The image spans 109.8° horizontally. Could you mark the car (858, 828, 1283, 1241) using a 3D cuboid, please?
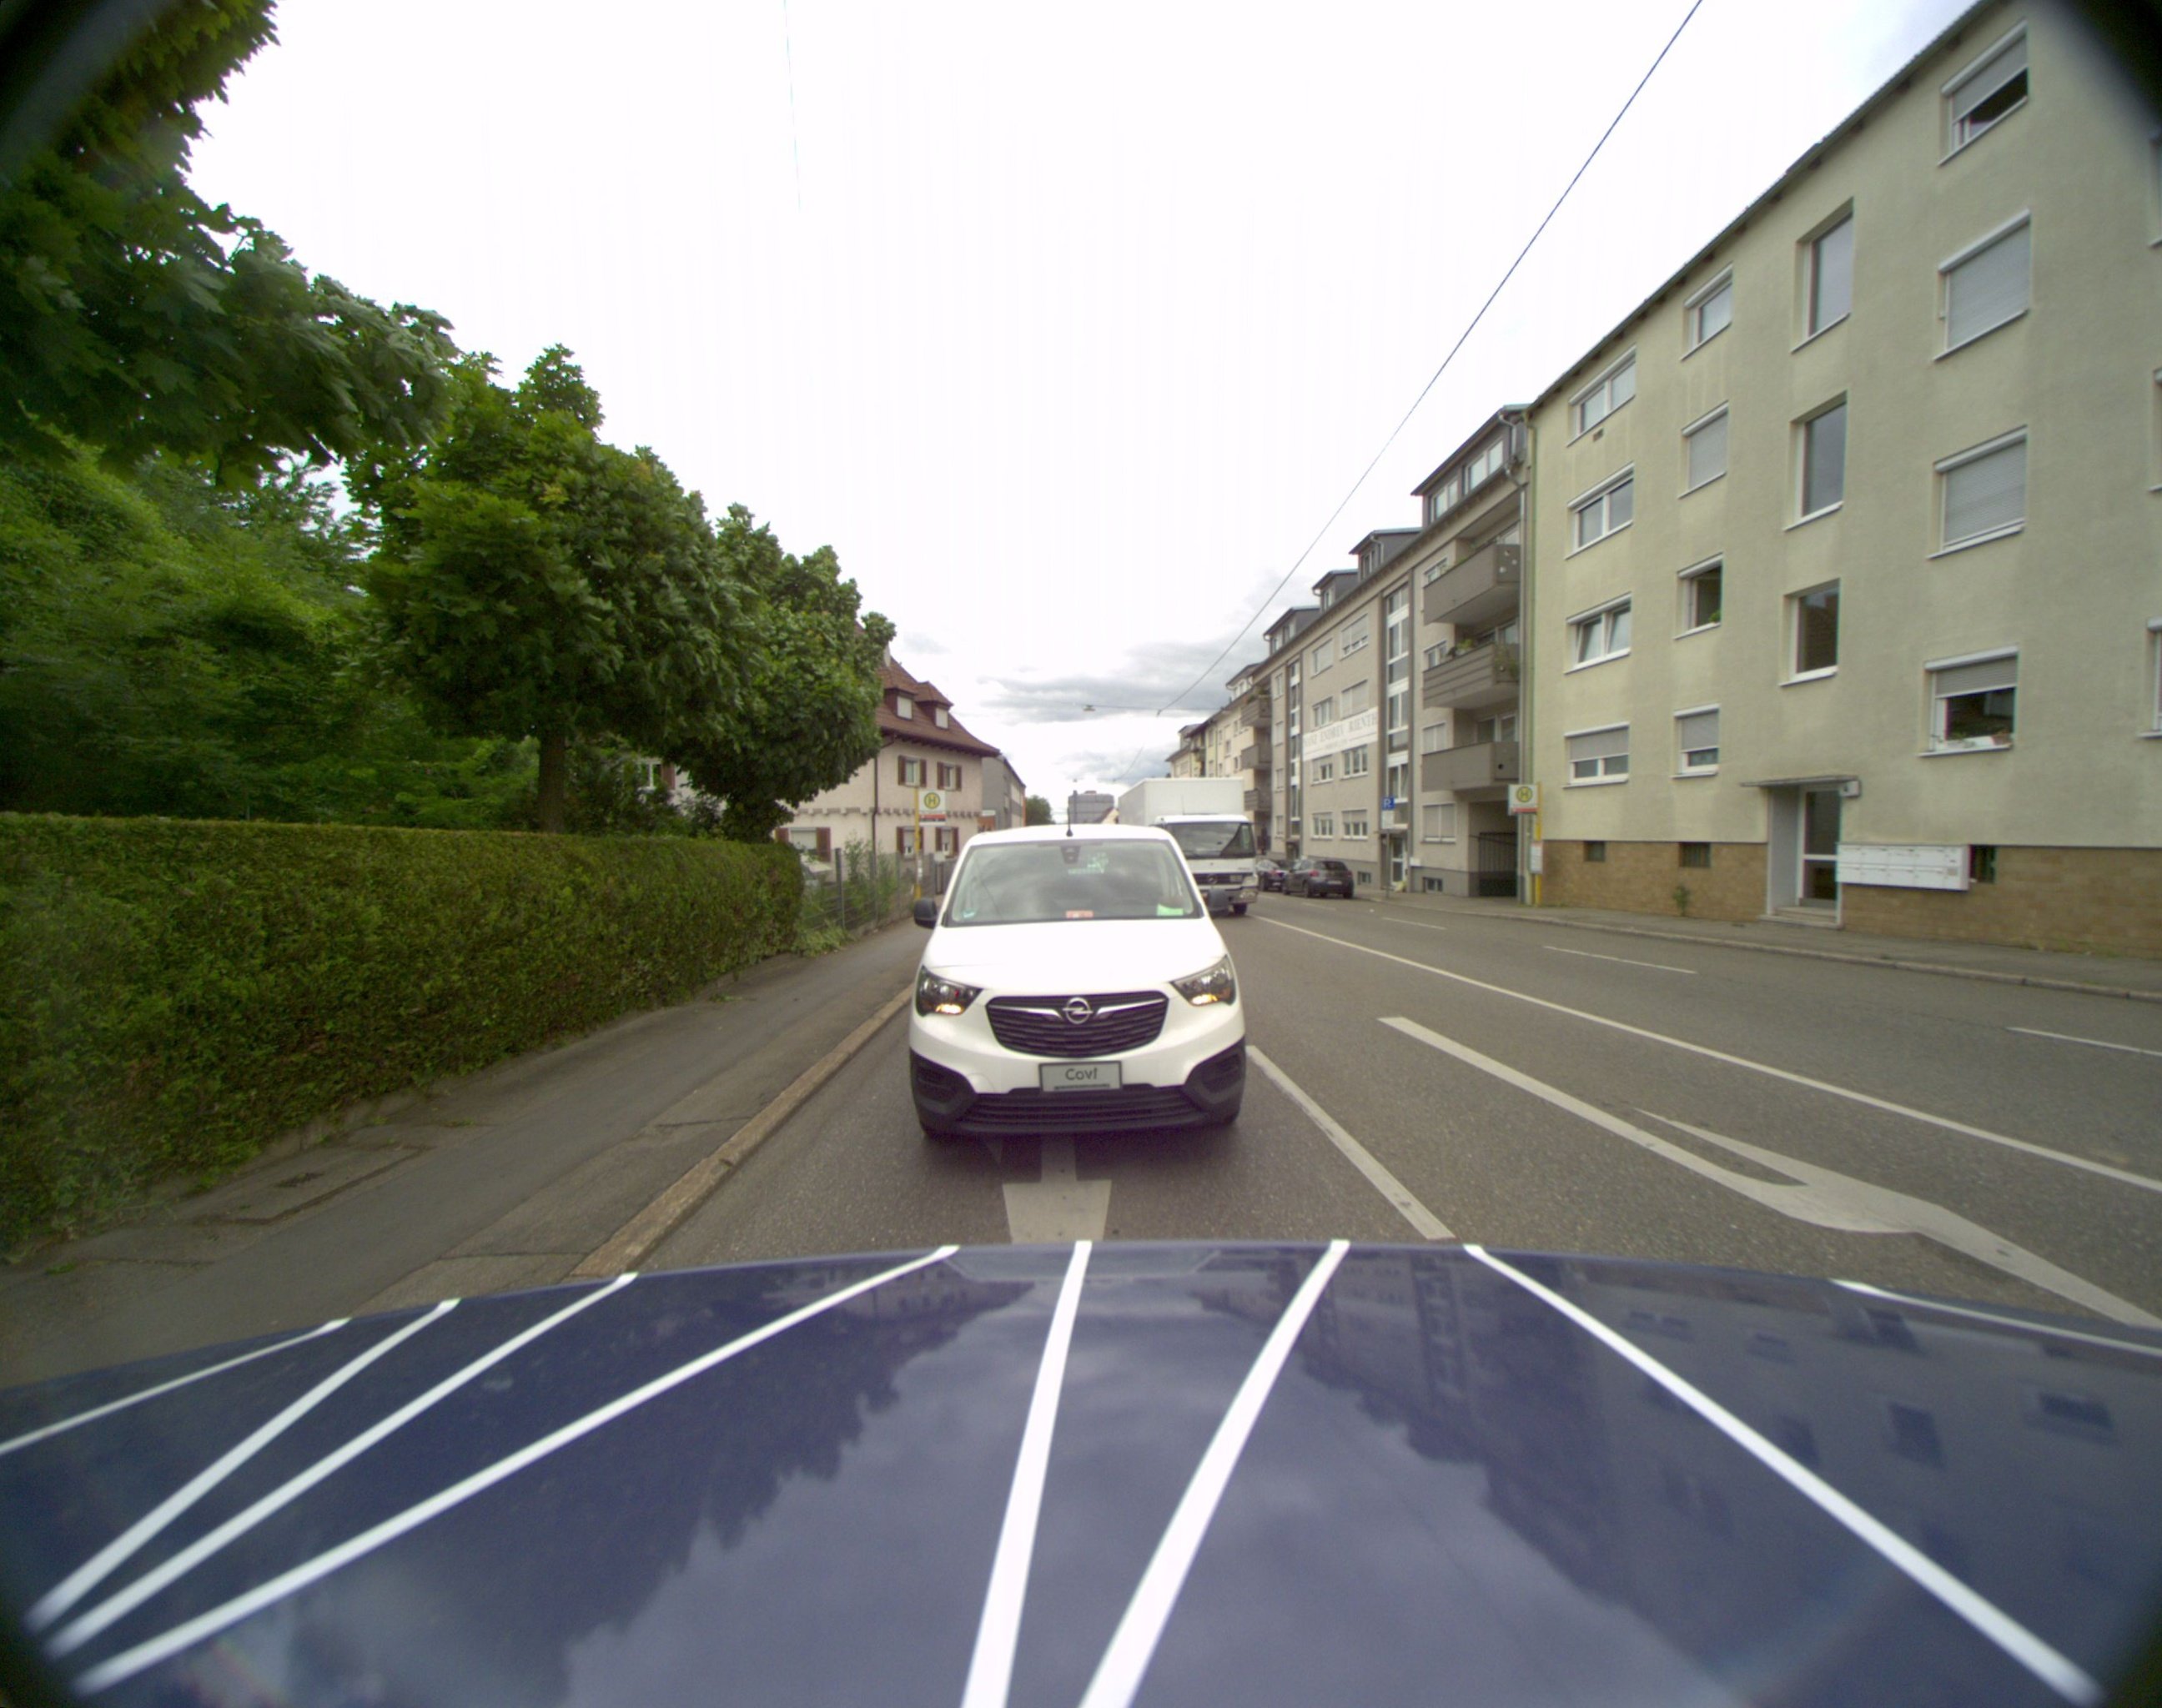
[{"bbox_3d":[-0.100,0.775,5.355,1.803,1.736,3.999,-3,1,-2],"label":"car"}]

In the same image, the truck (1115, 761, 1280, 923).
[{"bbox_3d":[2.809,-0.252,21.066,2.777,3.554,8.061,-2,0,-4],"label":"truck"}]

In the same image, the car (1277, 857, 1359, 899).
[{"bbox_3d":[8.914,0.859,28.855,1.773,1.428,3.800,2,0,-2],"label":"car"}]

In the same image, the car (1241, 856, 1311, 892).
[{"bbox_3d":[8.710,0.860,34.333,1.773,1.397,4.717,2,0,-2],"label":"car"}]

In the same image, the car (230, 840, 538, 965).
[{"bbox_3d":[-12.957,0.774,14.335,1.994,2.002,4.008,-1,0,40],"label":"car"}]

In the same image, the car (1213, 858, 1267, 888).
[{"bbox_3d":[8.282,0.946,39.893,1.773,1.397,4.306,2,0,-2],"label":"car"}]
